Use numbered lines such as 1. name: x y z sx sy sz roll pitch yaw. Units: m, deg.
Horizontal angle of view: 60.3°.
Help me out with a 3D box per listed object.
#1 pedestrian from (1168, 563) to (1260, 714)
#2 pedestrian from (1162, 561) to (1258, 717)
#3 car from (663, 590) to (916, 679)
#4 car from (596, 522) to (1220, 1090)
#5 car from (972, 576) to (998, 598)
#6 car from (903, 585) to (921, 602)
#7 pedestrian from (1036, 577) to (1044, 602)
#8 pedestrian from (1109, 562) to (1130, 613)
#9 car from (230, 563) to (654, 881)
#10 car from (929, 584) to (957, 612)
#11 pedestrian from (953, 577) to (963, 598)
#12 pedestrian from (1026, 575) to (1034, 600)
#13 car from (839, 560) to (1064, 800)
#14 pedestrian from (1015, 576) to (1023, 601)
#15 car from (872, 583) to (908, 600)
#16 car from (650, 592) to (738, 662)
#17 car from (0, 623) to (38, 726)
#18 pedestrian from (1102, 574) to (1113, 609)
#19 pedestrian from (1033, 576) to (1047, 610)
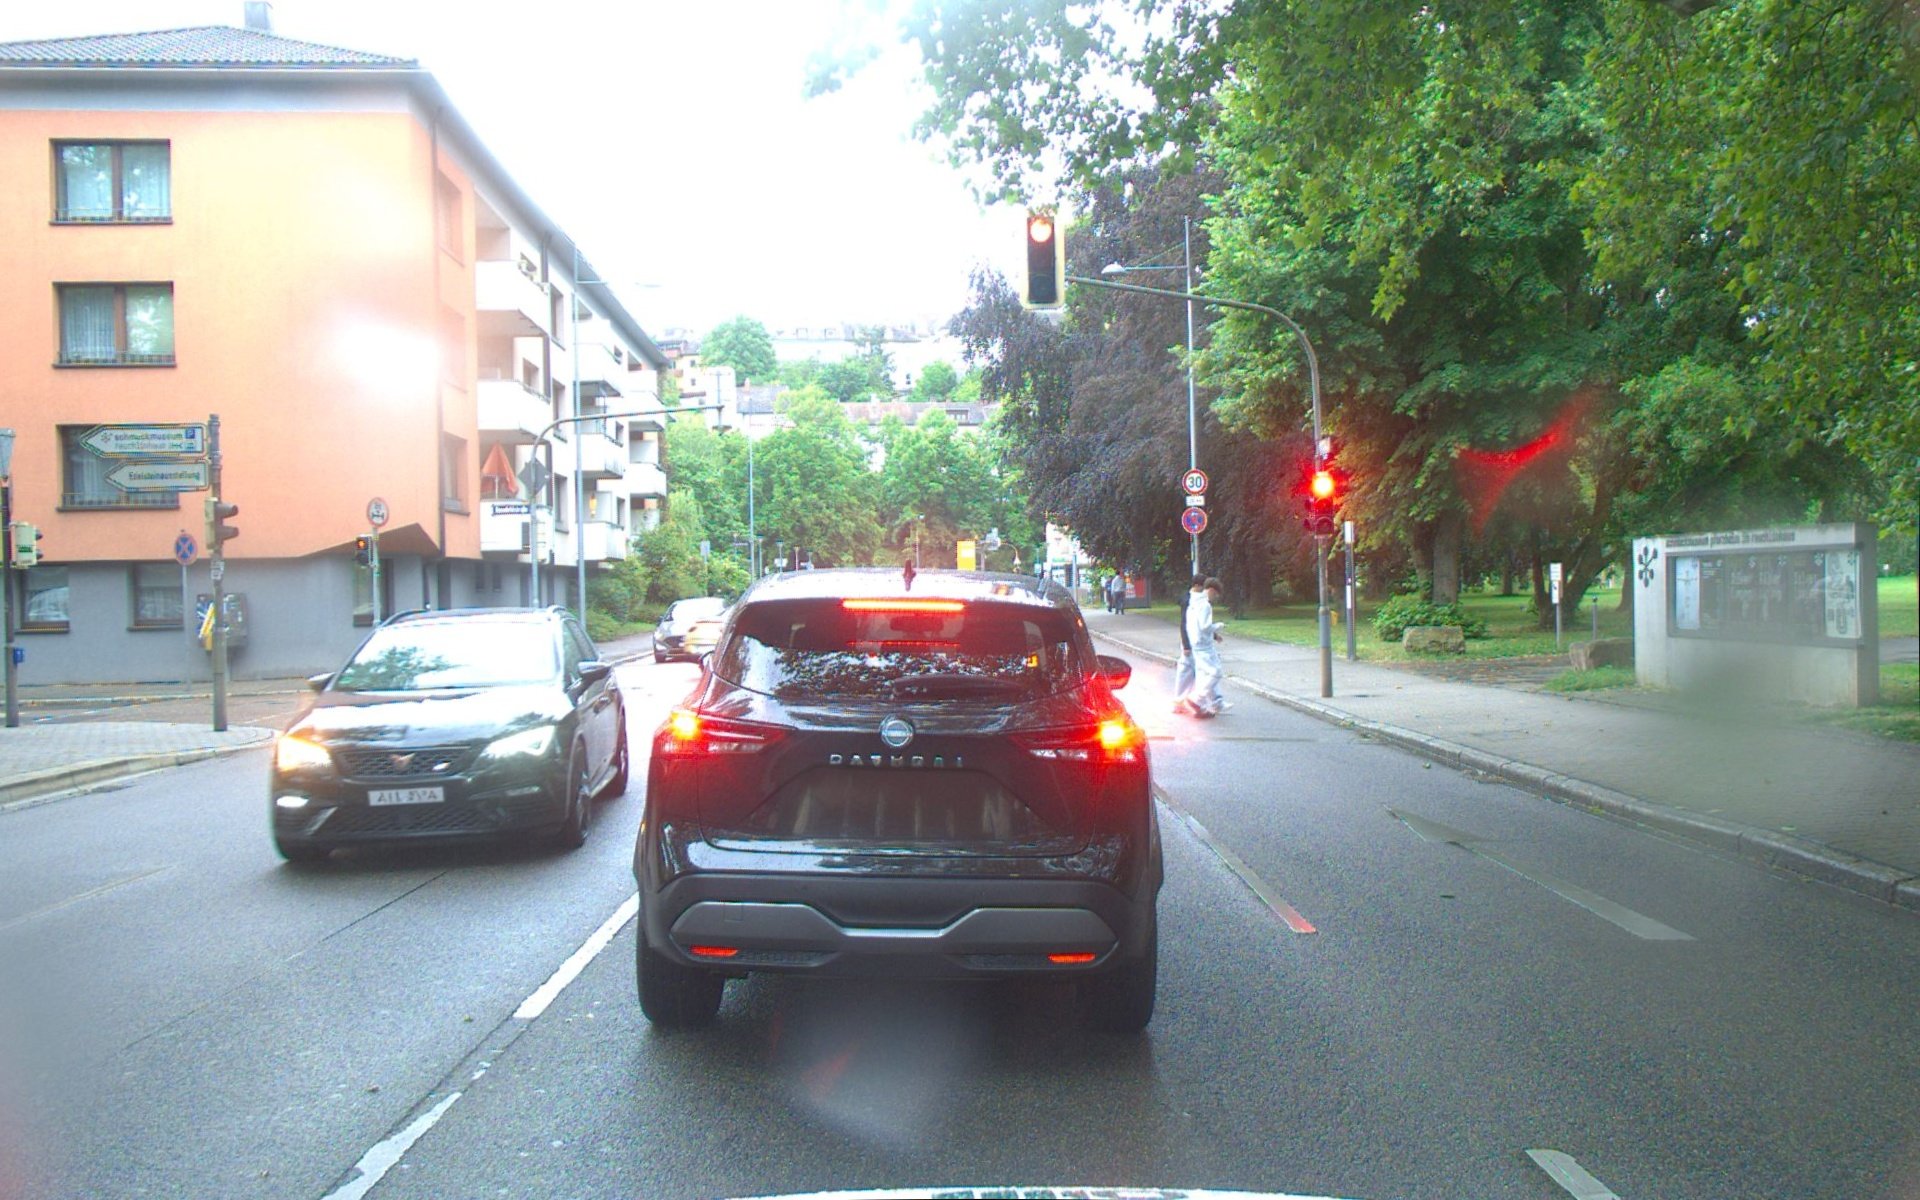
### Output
1. pedestrian: 3.274 0.477 21.350 1.017 1.908 0.656 0 1 -11
2. pedestrian: 3.108 0.472 20.596 1.017 1.908 0.656 0 1 -11
3. car: -3.132 0.609 31.141 4.616 1.428 1.802 -3 1 -44
4. car: -0.177 0.610 6.994 1.874 1.709 3.999 0 0 -1
5. car: 2.169 -1.123 141.587 1.952 1.765 4.002 1 0 4
6. car: -4.585 -0.604 158.825 1.601 1.559 3.967 -2 0 -1
7. pedestrian: 5.885 -0.789 121.522 0.498 1.833 0.619 -2 0 -2
8. pedestrian: 6.496 -0.499 67.310 0.710 2.049 0.851 -2 0 -1
9. car: -3.203 0.651 11.101 1.810 1.654 4.133 -2 0 -5
10. car: -1.038 -0.130 98.622 1.601 1.559 3.967 -2 0 -1
11. pedestrian: -0.189 -1.048 135.137 0.498 1.702 0.658 -2 0 27
12. pedestrian: 5.142 -0.909 121.178 0.498 1.833 0.659 -2 0 1
13. car: -0.090 0.595 14.438 1.664 1.776 3.640 -2 0 -1
14. pedestrian: 4.384 -0.854 122.042 0.498 1.833 0.619 -2 0 -1
15. car: -6.970 -0.882 164.881 1.604 1.559 3.960 -2 1 30
16. car: -6.490 0.625 40.715 1.760 1.560 3.864 -2 0 -4
17. car: -16.689 1.225 25.562 3.781 1.560 1.799 -2 0 -6
18. pedestrian: 6.410 -0.375 71.988 0.382 1.528 0.559 -2 0 -1
19. pedestrian: 4.332 -0.361 89.712 0.501 1.833 0.615 -2 0 -22
